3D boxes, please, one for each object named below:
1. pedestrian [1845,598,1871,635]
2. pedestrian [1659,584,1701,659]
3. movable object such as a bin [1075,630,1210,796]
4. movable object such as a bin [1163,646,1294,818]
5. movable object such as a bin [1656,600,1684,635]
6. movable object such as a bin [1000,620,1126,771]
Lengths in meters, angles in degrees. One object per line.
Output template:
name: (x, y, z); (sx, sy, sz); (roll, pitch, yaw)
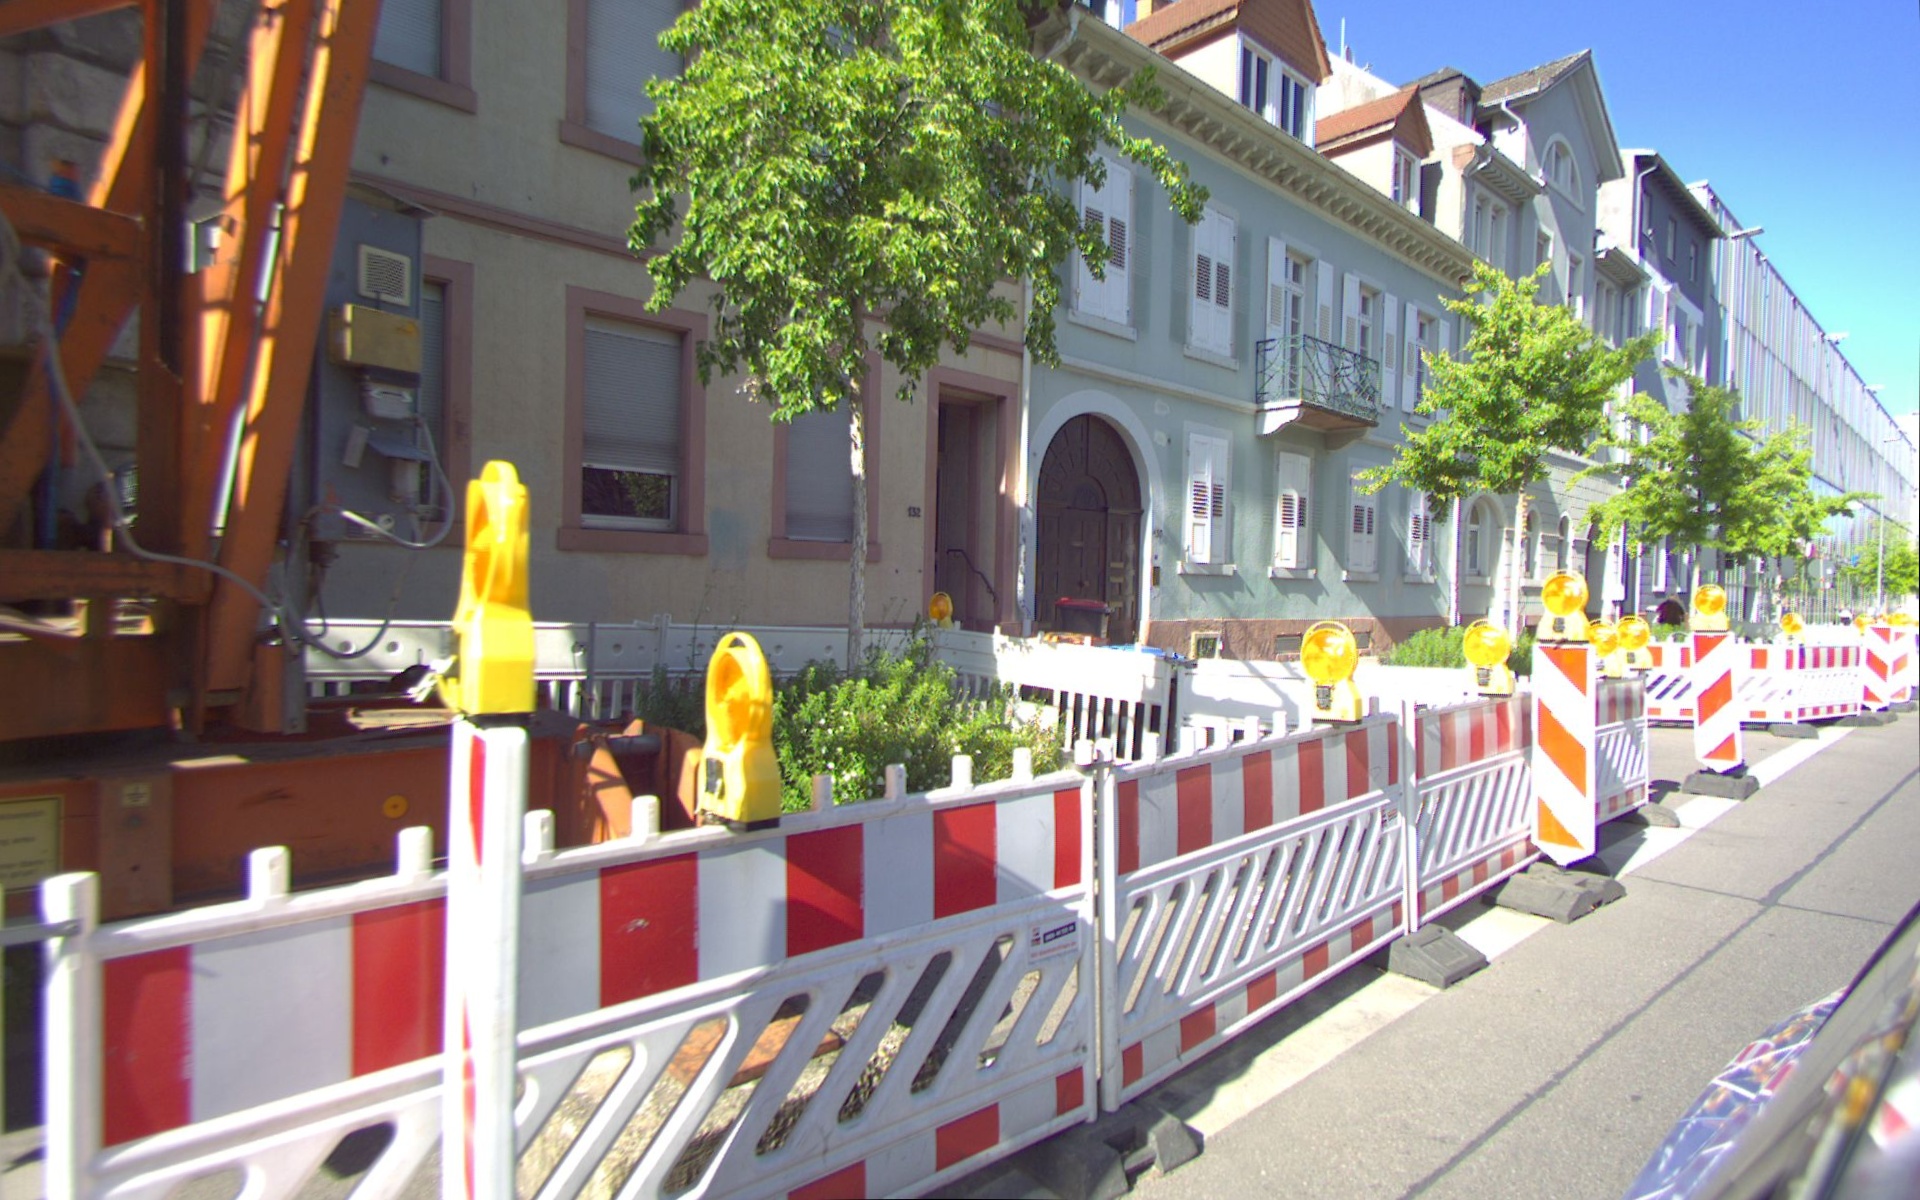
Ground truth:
pedestrian: (49.039, 0.896, 55.248); (0.880, 1.947, 0.877); (-2, 5, -42)
pedestrian: (19.095, 0.547, 26.854); (0.788, 1.953, 0.763); (0, 0, 27)
movable object such as a bin: (1.336, 0.793, 7.404); (0.718, 1.070, 0.597); (1, 4, -41)
movable object such as a bin: (1.870, 0.881, 7.050); (0.718, 1.071, 0.588); (1, 0, -41)
movable object such as a bin: (23.127, 0.557, 32.974); (0.691, 1.122, 0.589); (1, 0, -41)
movable object such as a bin: (0.828, 0.730, 8.114); (0.588, 1.070, 0.771); (8, 5, 43)
